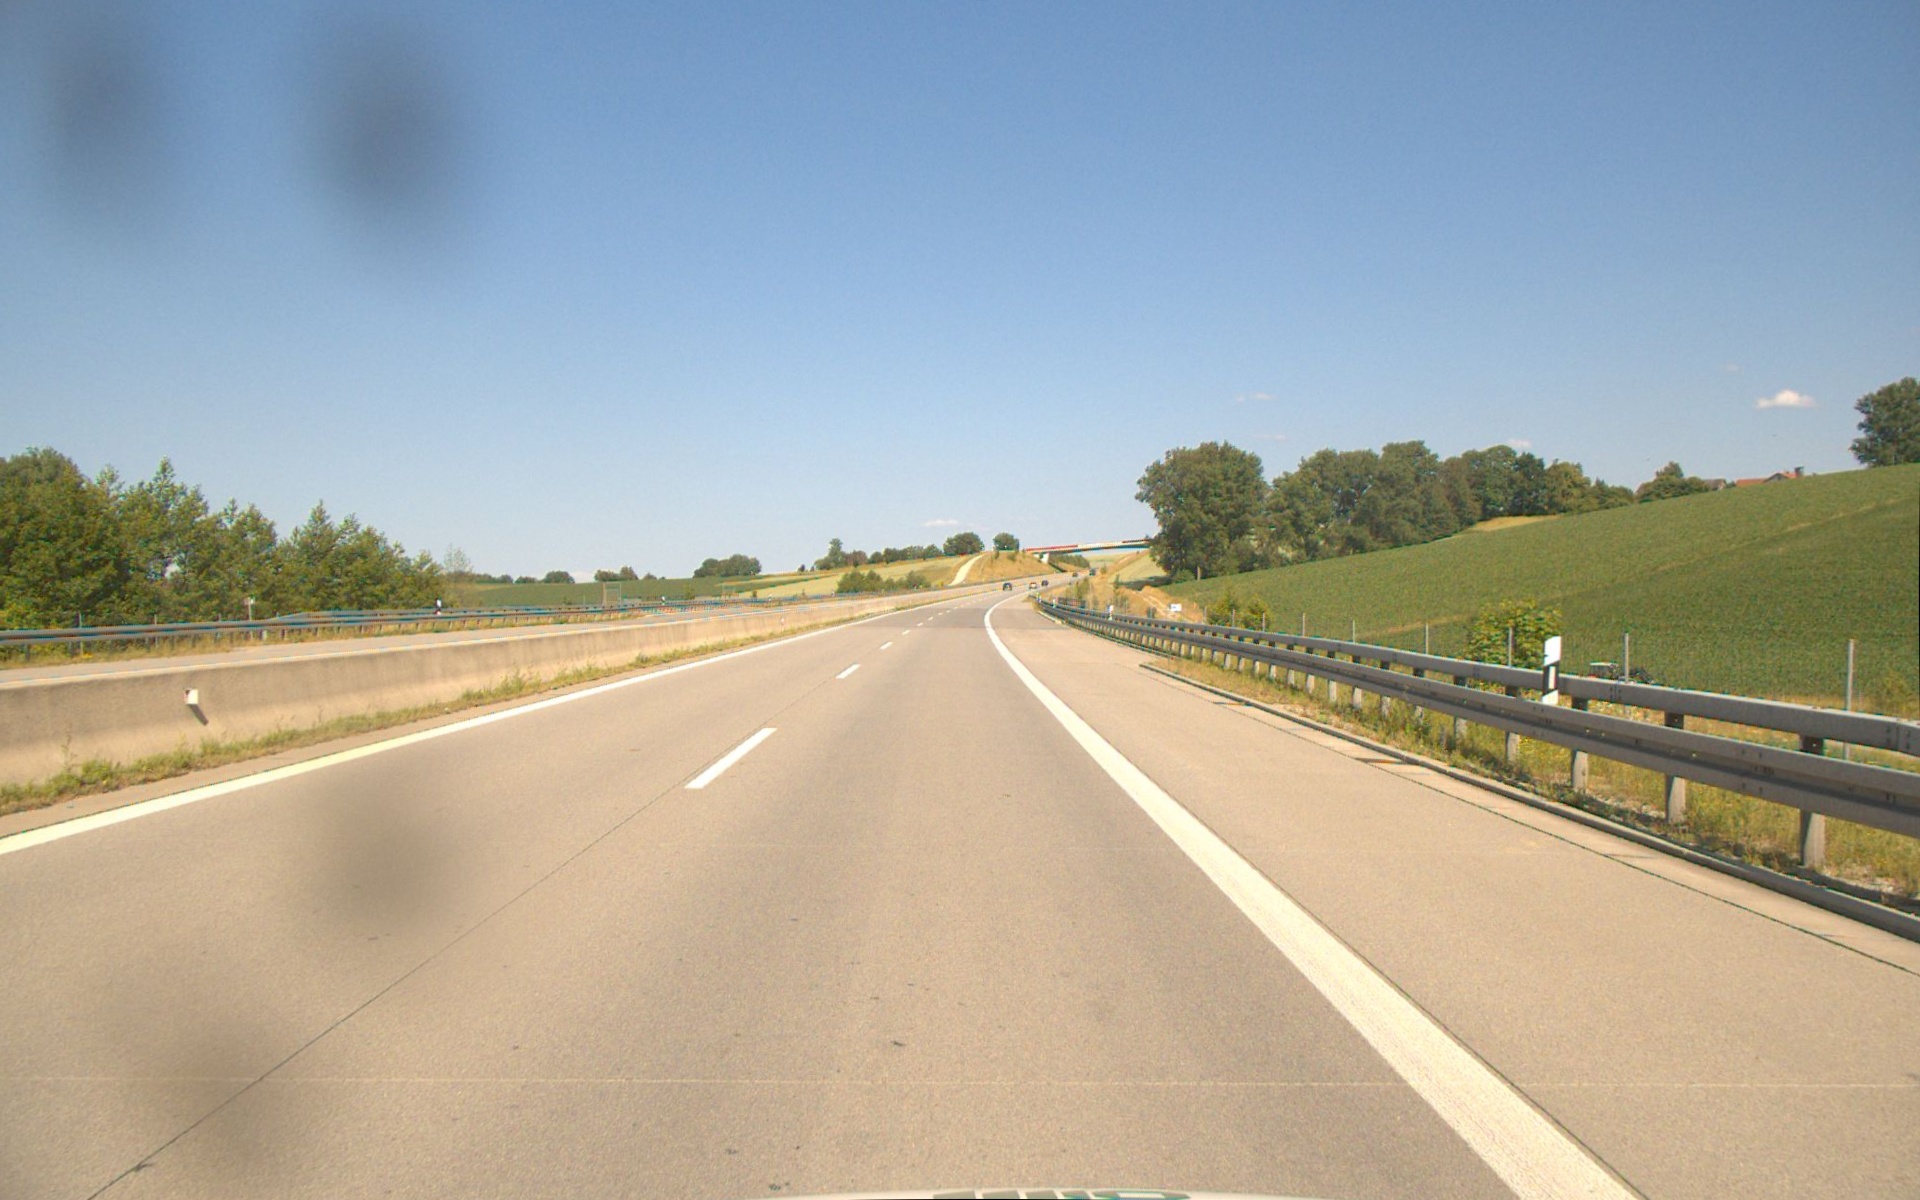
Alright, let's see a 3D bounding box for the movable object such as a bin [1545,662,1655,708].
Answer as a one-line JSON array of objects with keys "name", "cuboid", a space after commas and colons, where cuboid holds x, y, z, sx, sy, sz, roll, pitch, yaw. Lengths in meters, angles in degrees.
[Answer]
[{"name": "movable object such as a bin", "cuboid": [42.502, 5.608, 109.905, 6.118, 2.819, 3.268, 0, -2, 41]}]
